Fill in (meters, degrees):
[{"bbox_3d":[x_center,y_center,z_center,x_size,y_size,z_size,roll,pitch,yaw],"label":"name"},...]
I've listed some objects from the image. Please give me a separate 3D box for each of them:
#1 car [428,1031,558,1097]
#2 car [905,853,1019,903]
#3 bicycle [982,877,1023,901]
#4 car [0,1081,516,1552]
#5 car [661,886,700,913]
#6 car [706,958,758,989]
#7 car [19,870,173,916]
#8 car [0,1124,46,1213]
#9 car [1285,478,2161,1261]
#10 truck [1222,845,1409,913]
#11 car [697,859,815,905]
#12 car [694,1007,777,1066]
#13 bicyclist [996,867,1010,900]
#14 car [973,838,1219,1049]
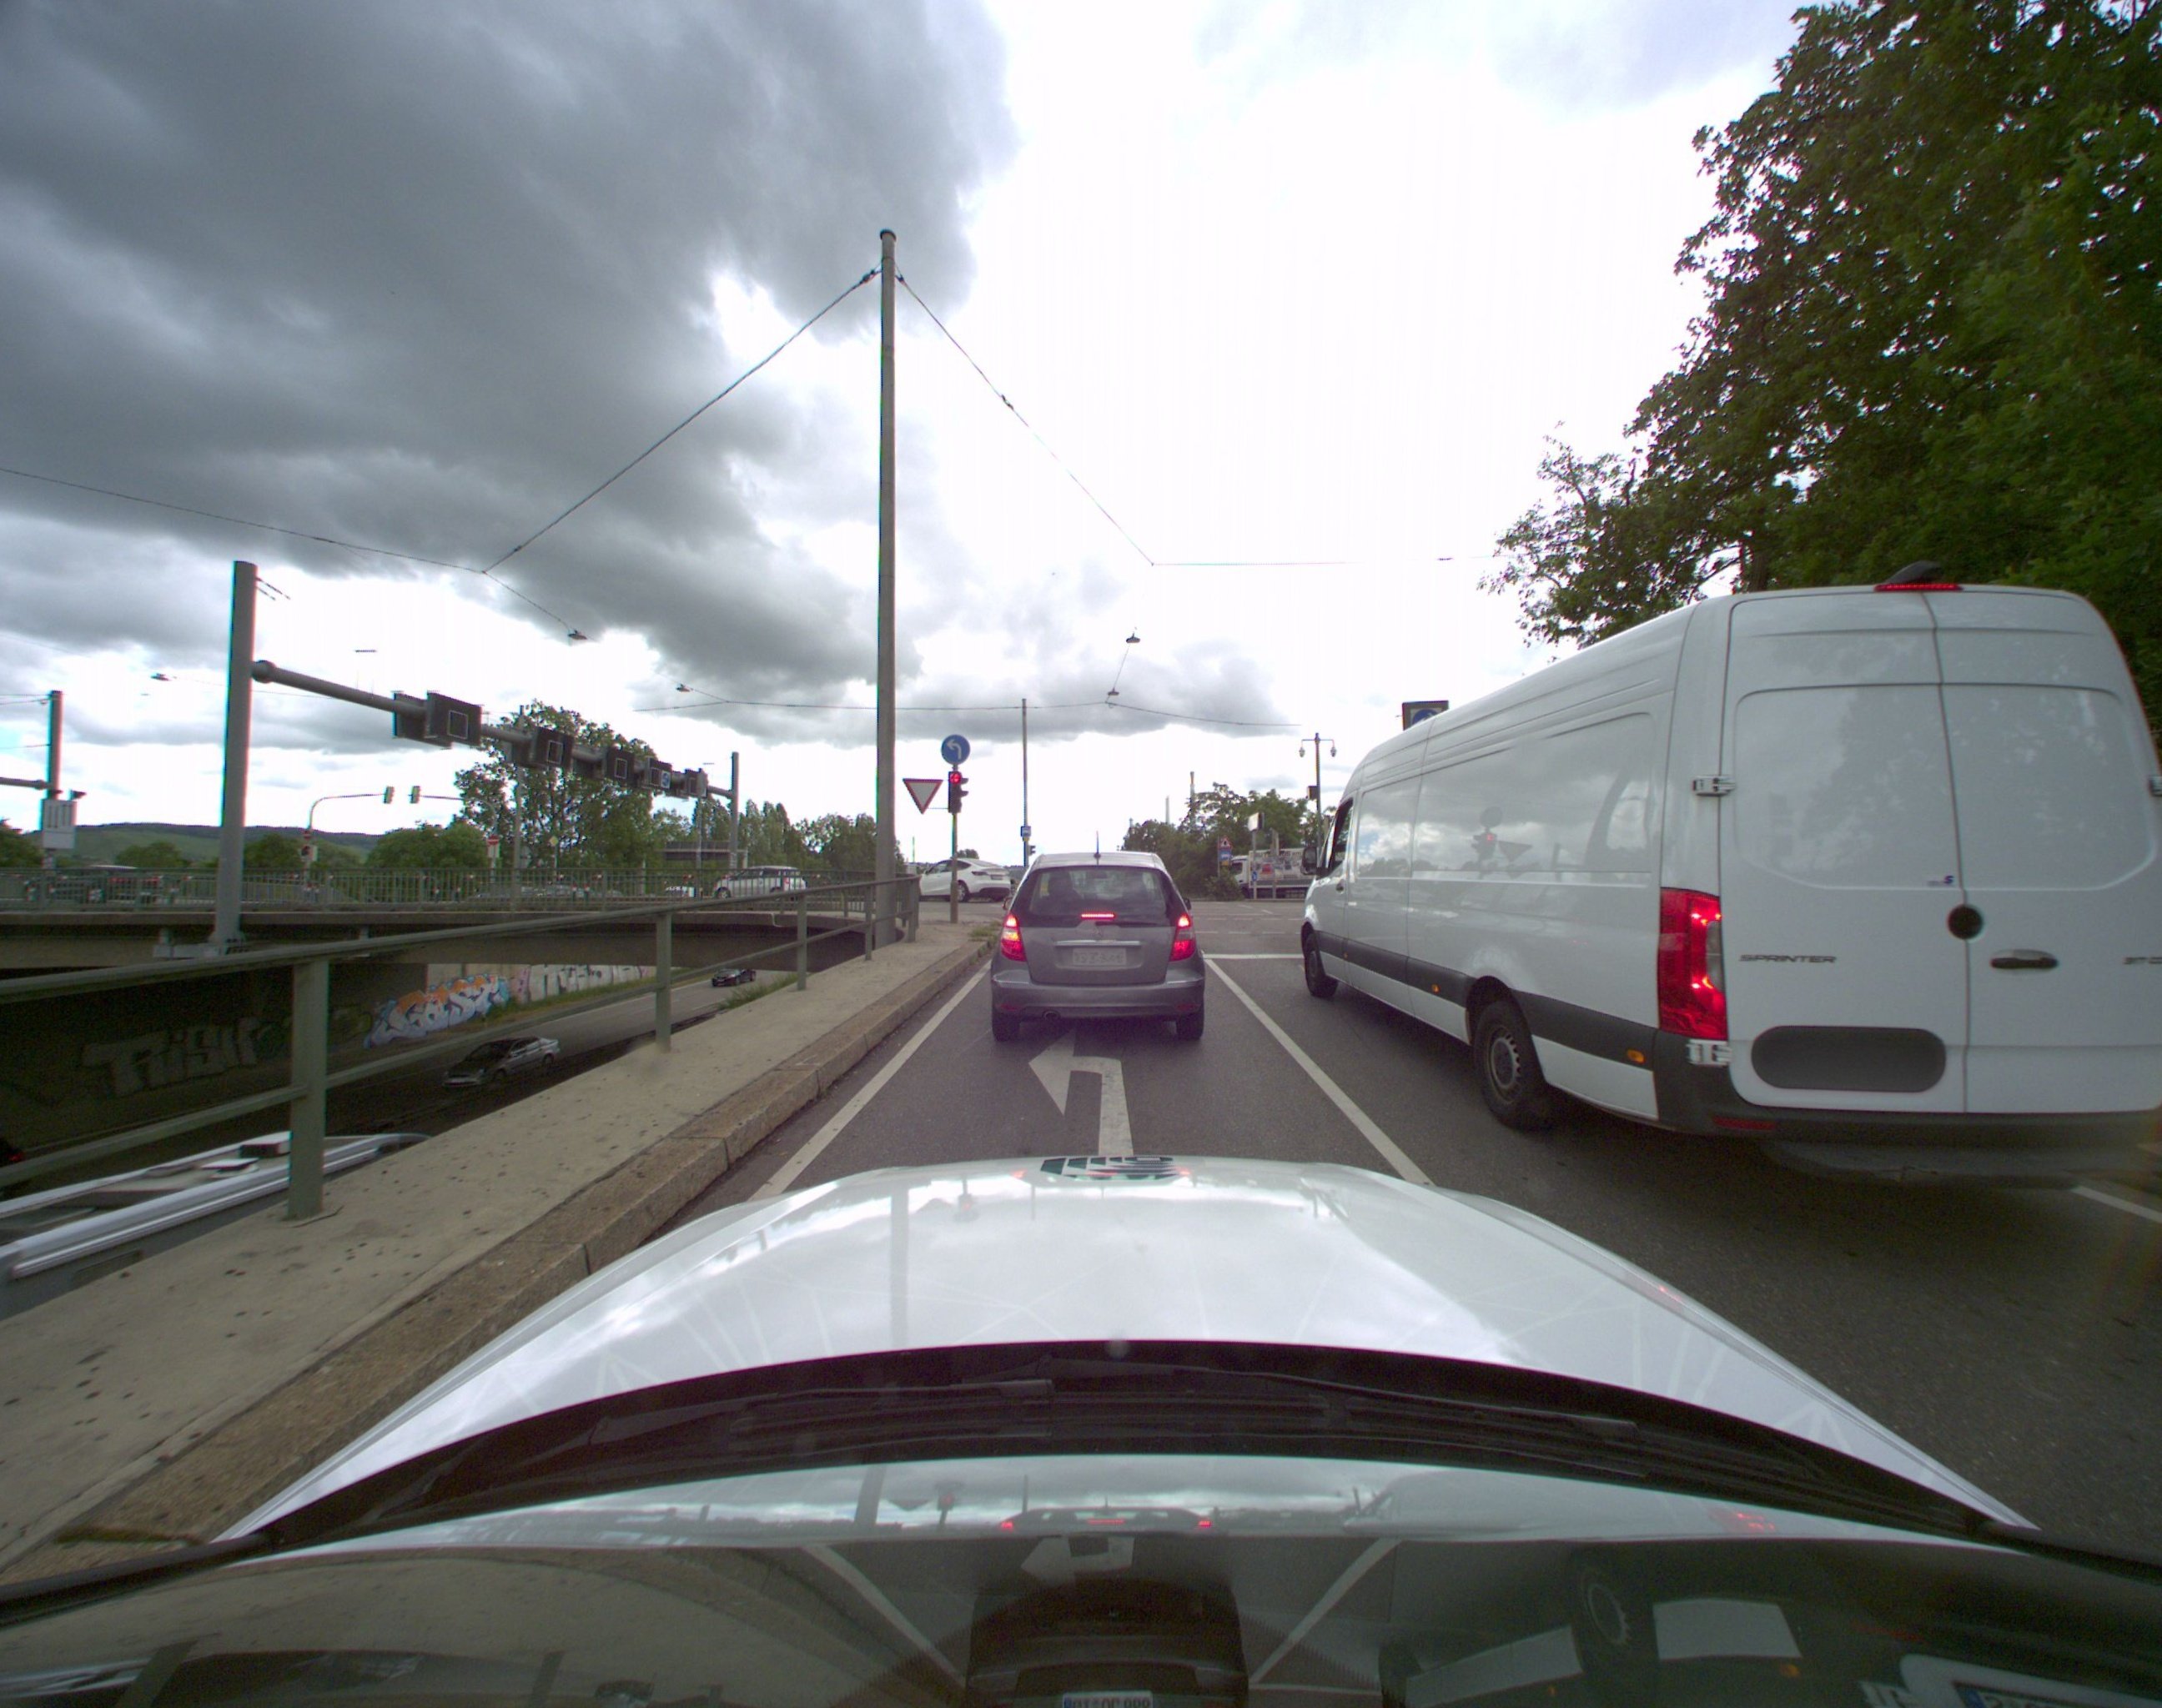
[{"bbox_3d":[-21.574,7.678,30.122,1.722,1.528,4.087,-1,-3,2],"label":"car"},{"bbox_3d":[-4.483,0.847,30.406,4.350,1.717,1.949,-1,0,44],"label":"car"},{"bbox_3d":[-4.011,1.789,41.574,2.032,1.124,0.926,-1,0,-10],"label":"bicycle"},{"bbox_3d":[-12.290,5.862,11.868,2.351,3.241,7.666,-2,-3,4],"label":"car"},{"bbox_3d":[-36.398,4.074,74.140,1.850,2.215,3.659,-1,0,-3],"label":"car"},{"bbox_3d":[-26.677,9.129,62.380,1.924,1.841,4.410,-2,-3,1],"label":"car"},{"bbox_3d":[-40.852,1.590,33.860,3.974,1.717,1.937,-1,0,0],"label":"car"},{"bbox_3d":[-25.132,7.108,16.695,1.909,1.739,4.552,-2,-2,1],"label":"car"},{"bbox_3d":[3.387,0.039,6.308,2.102,2.783,6.783,-1,0,2],"label":"car"},{"bbox_3d":[13.215,1.319,46.789,10.118,3.518,2.815,-1,0,43],"label":"truck"},{"bbox_3d":[-13.170,1.114,33.075,3.962,1.717,1.943,-1,0,10],"label":"car"},{"bbox_3d":[-15.008,7.904,35.611,1.835,1.713,4.276,-2,-3,-1],"label":"car"},{"bbox_3d":[-4.004,1.503,41.588,0.653,1.673,0.867,-1,0,-9],"label":"bicyclist"},{"bbox_3d":[0.250,0.664,8.197,1.849,1.588,4.005,-1,1,4],"label":"car"}]
